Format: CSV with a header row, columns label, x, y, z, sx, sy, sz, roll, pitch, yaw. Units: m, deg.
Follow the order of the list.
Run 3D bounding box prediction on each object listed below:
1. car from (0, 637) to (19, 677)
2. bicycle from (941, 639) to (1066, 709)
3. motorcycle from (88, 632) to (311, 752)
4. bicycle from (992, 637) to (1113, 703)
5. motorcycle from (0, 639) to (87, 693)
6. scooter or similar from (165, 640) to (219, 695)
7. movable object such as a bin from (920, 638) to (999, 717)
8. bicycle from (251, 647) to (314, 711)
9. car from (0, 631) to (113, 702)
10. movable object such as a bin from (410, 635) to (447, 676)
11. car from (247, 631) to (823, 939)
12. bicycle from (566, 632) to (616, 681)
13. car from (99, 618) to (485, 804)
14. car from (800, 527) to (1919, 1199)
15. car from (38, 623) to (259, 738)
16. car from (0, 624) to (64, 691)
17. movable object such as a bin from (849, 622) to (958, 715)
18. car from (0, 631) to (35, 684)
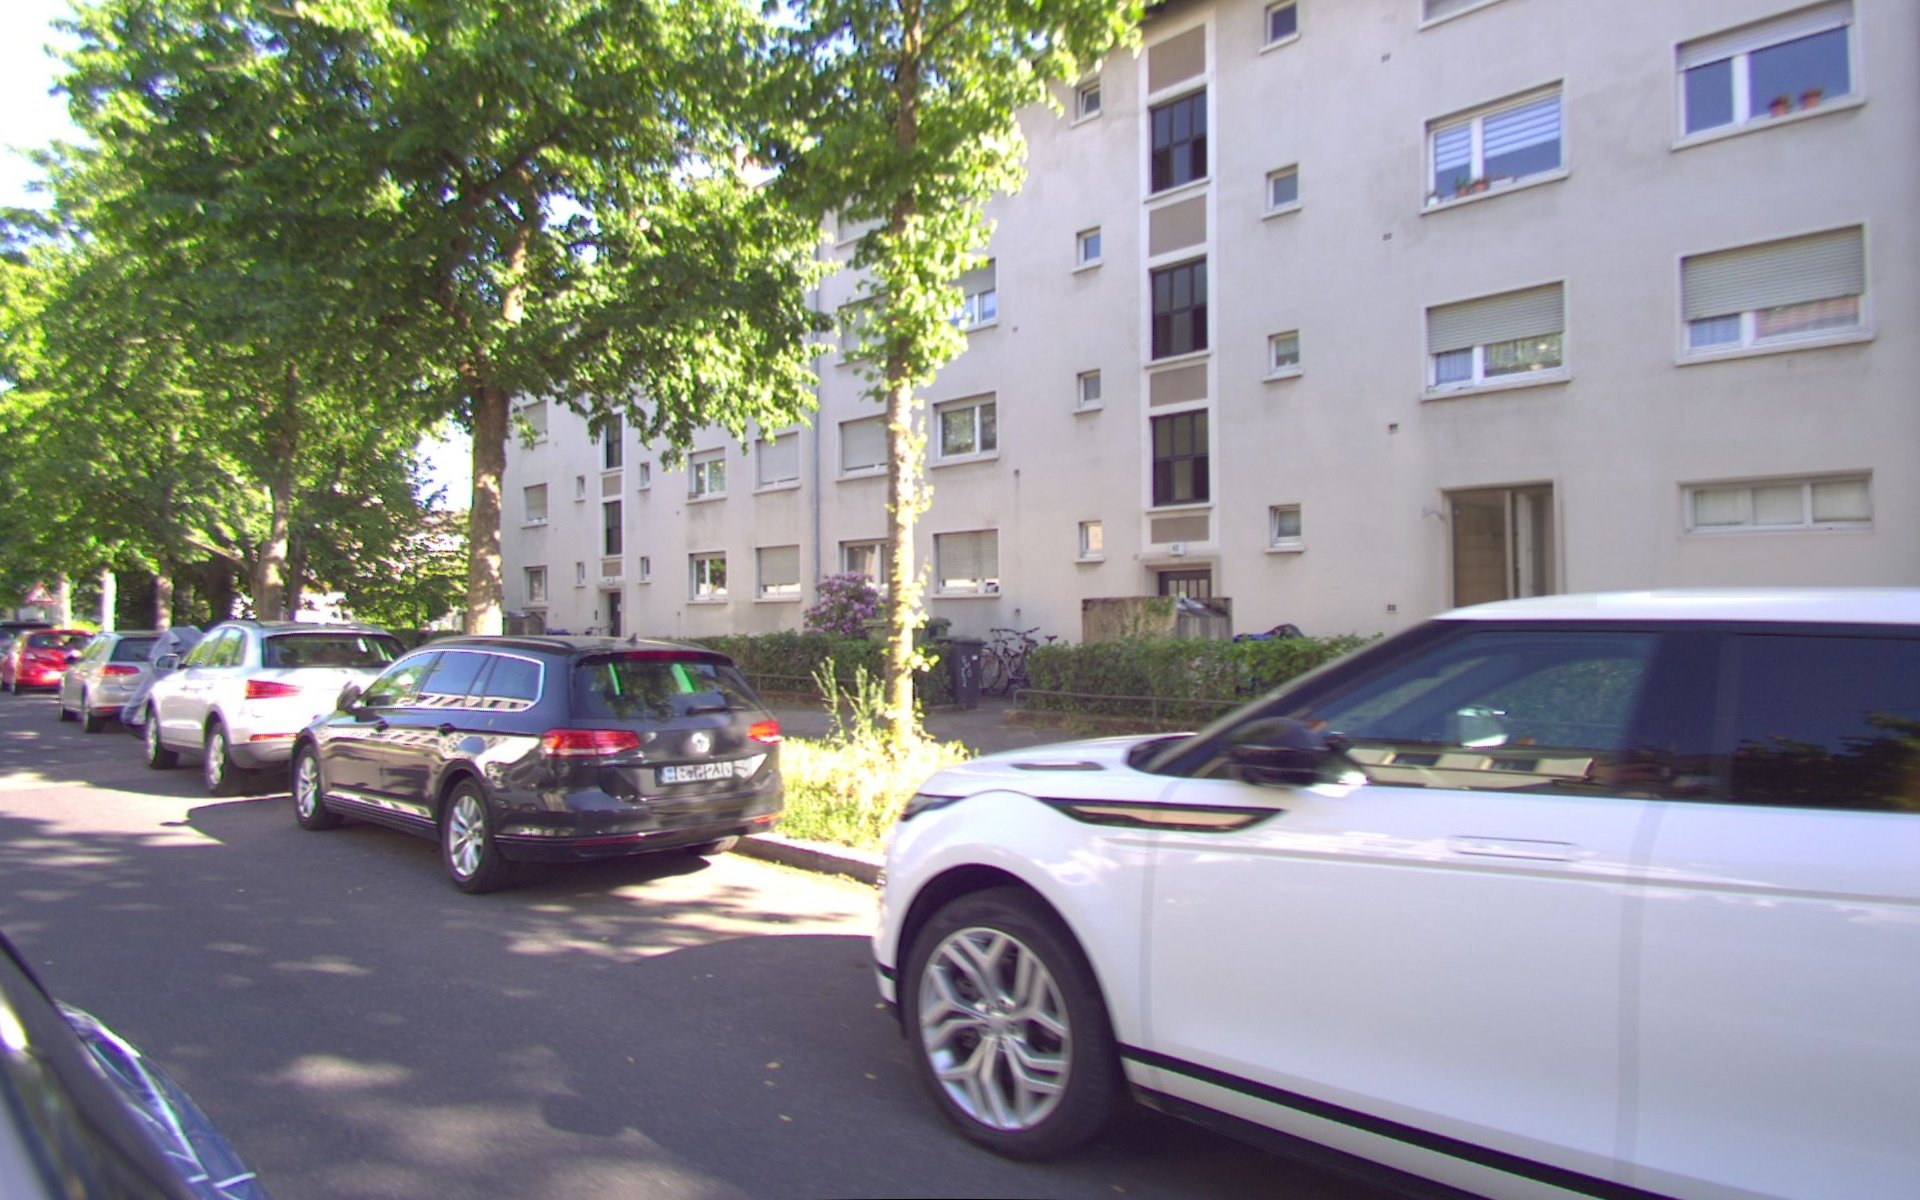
label,x,y,z,sx,sy,sz,roll,pitch,yaw
car,-34.020,1.941,34.895,4.478,1.363,1.767,-2,-3,40
bicycle,0.689,1.160,16.375,1.932,1.049,0.779,-1,-2,37
motorcycle,-10.013,1.184,13.392,2.203,1.515,0.989,0,-2,2
bicycle,1.549,1.161,17.146,1.932,1.049,0.779,-1,-2,37
motorcycle,-23.716,1.664,25.997,1.929,1.342,0.788,2,-3,-41
scooter or similar,-18.193,1.577,24.006,0.547,1.244,1.518,0,-2,-19
movable object such as a bin,0.003,1.096,14.639,0.753,1.100,0.921,-1,-2,36
bicycle,-12.370,1.408,18.448,0.524,1.022,2.092,-8,4,-43
car,-21.377,1.489,23.660,4.181,1.481,1.836,-2,-2,42
movable object such as a bin,-14.437,1.505,27.492,0.760,1.076,0.686,-2,-2,43
car,-3.219,0.990,7.065,4.818,1.458,1.710,-2,-5,41
bicycle,-10.030,1.516,27.452,1.913,1.299,0.394,-2,-2,41
car,-7.145,0.989,10.638,4.716,1.536,2.044,-2,-2,39
car,1.707,0.767,2.564,4.363,1.630,1.710,-1,-5,41
car,-12.794,1.146,15.846,4.605,1.536,2.021,-2,-3,43
car,-26.148,1.531,27.711,4.811,1.701,1.749,-2,-3,41
movable object such as a bin,-0.853,0.999,15.258,1.376,1.334,0.921,-1,-2,36
car,-30.016,1.744,31.234,4.419,1.543,1.750,-2,-2,42
